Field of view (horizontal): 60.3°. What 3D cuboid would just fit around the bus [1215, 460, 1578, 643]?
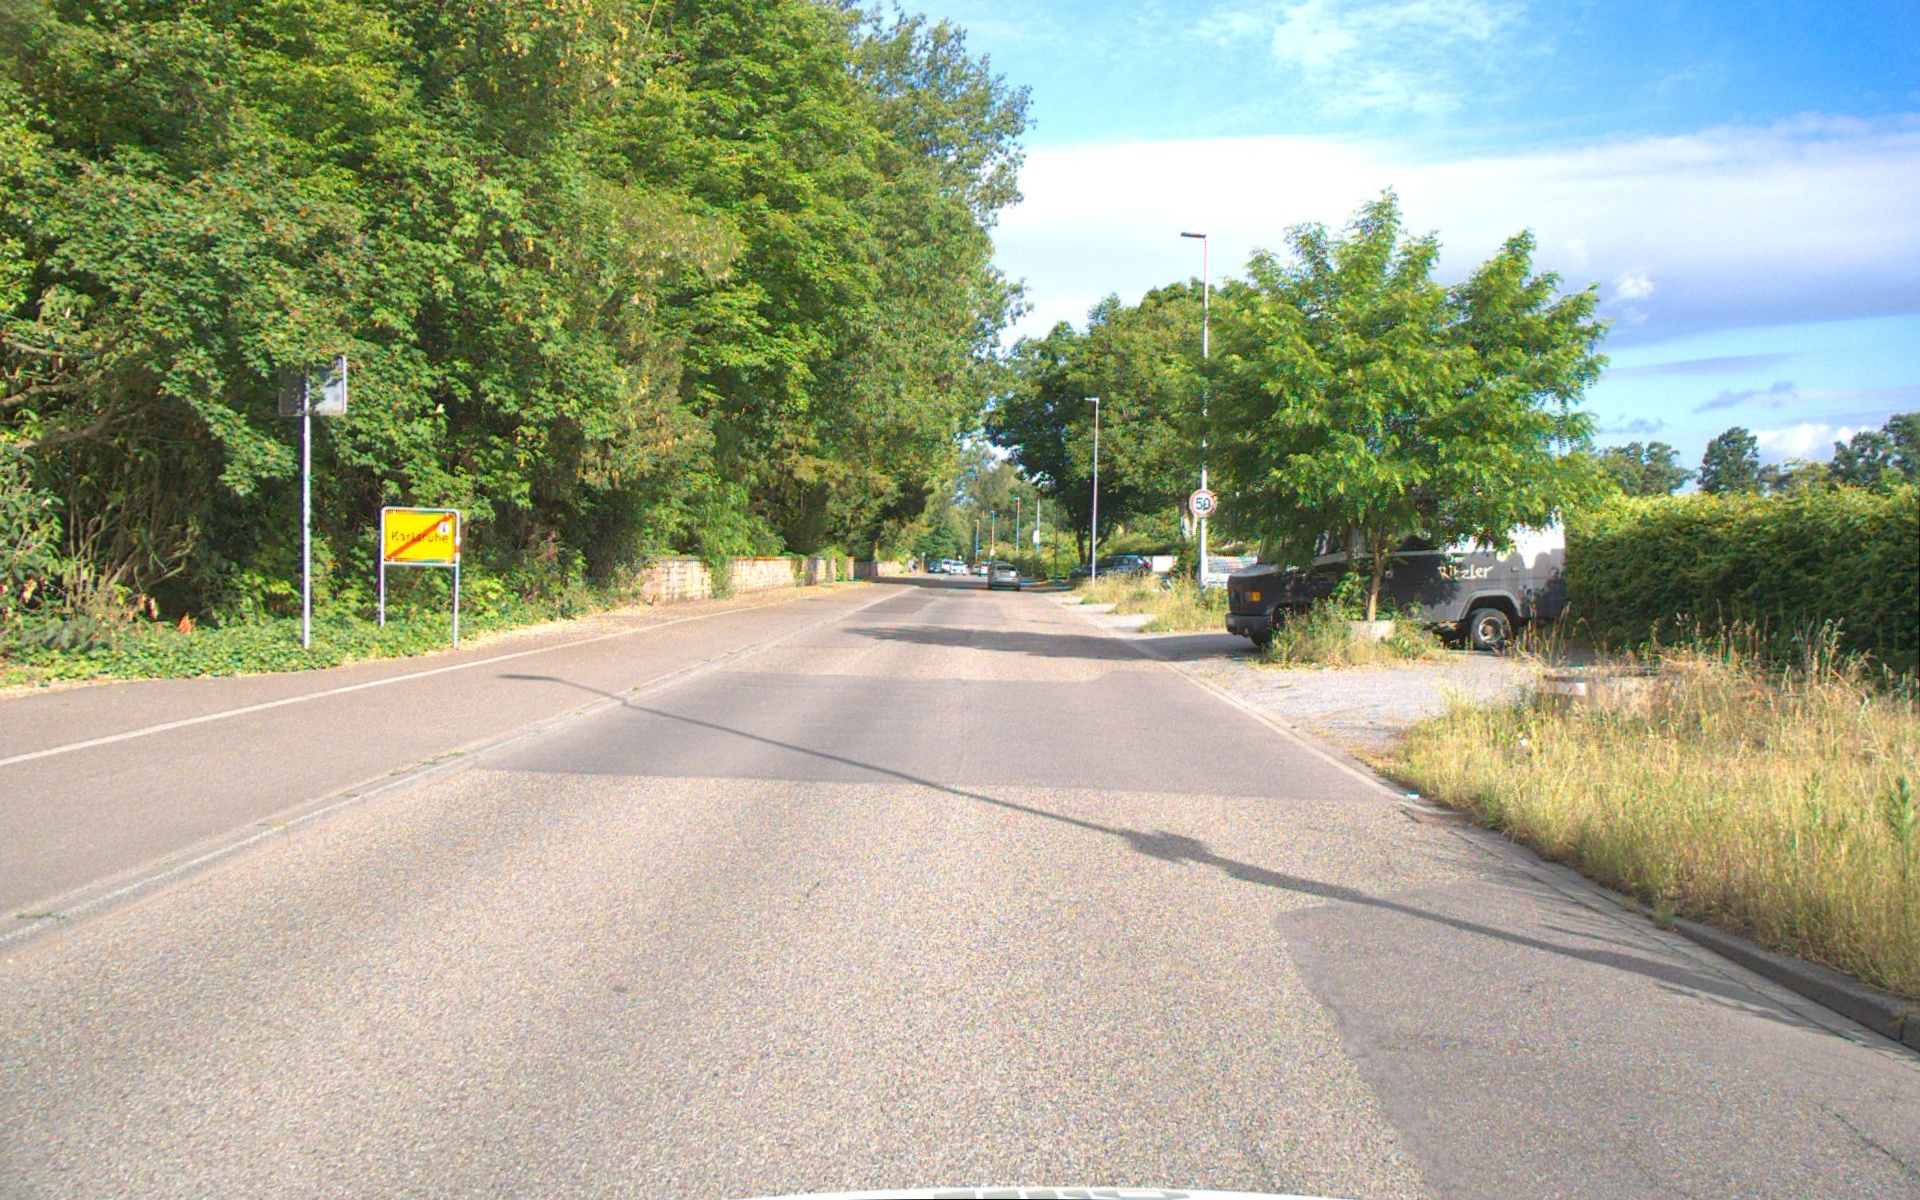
[{"bbox_3d":[6.888,-0.779,26.507,5.257,2.794,2.068,0,2,-2],"label":"bus"}]

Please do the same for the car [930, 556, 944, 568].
[{"bbox_3d":[-3.282,-5.328,234.693,1.848,1.641,4.054,1,1,0],"label":"car"}]

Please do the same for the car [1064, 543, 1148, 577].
[{"bbox_3d":[7.770,-2.120,88.198,4.312,1.675,2.001,-1,1,1],"label":"car"}]

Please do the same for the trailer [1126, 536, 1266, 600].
[{"bbox_3d":[7.067,-0.961,49.866,4.064,1.867,1.917,0,1,4],"label":"trailer"}]

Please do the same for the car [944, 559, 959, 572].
[{"bbox_3d":[-1.061,-4.288,206.510,1.848,1.641,4.054,1,1,0],"label":"car"}]

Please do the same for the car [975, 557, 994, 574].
[{"bbox_3d":[2.462,-3.470,167.337,1.848,1.641,4.054,1,1,0],"label":"car"}]

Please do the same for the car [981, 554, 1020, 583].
[{"bbox_3d":[2.082,-1.630,85.777,1.848,1.396,4.054,1,1,0],"label":"car"}]

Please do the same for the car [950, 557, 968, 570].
[{"bbox_3d":[-0.118,-3.889,176.714,1.848,1.396,4.054,1,1,-2],"label":"car"}]

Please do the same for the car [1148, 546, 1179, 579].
[{"bbox_3d":[10.626,-1.959,86.203,1.322,1.661,4.116,-1,1,11],"label":"car"}]

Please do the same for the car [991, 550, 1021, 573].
[{"bbox_3d":[3.104,-2.605,111.315,1.848,1.490,4.054,1,1,0],"label":"car"}]
